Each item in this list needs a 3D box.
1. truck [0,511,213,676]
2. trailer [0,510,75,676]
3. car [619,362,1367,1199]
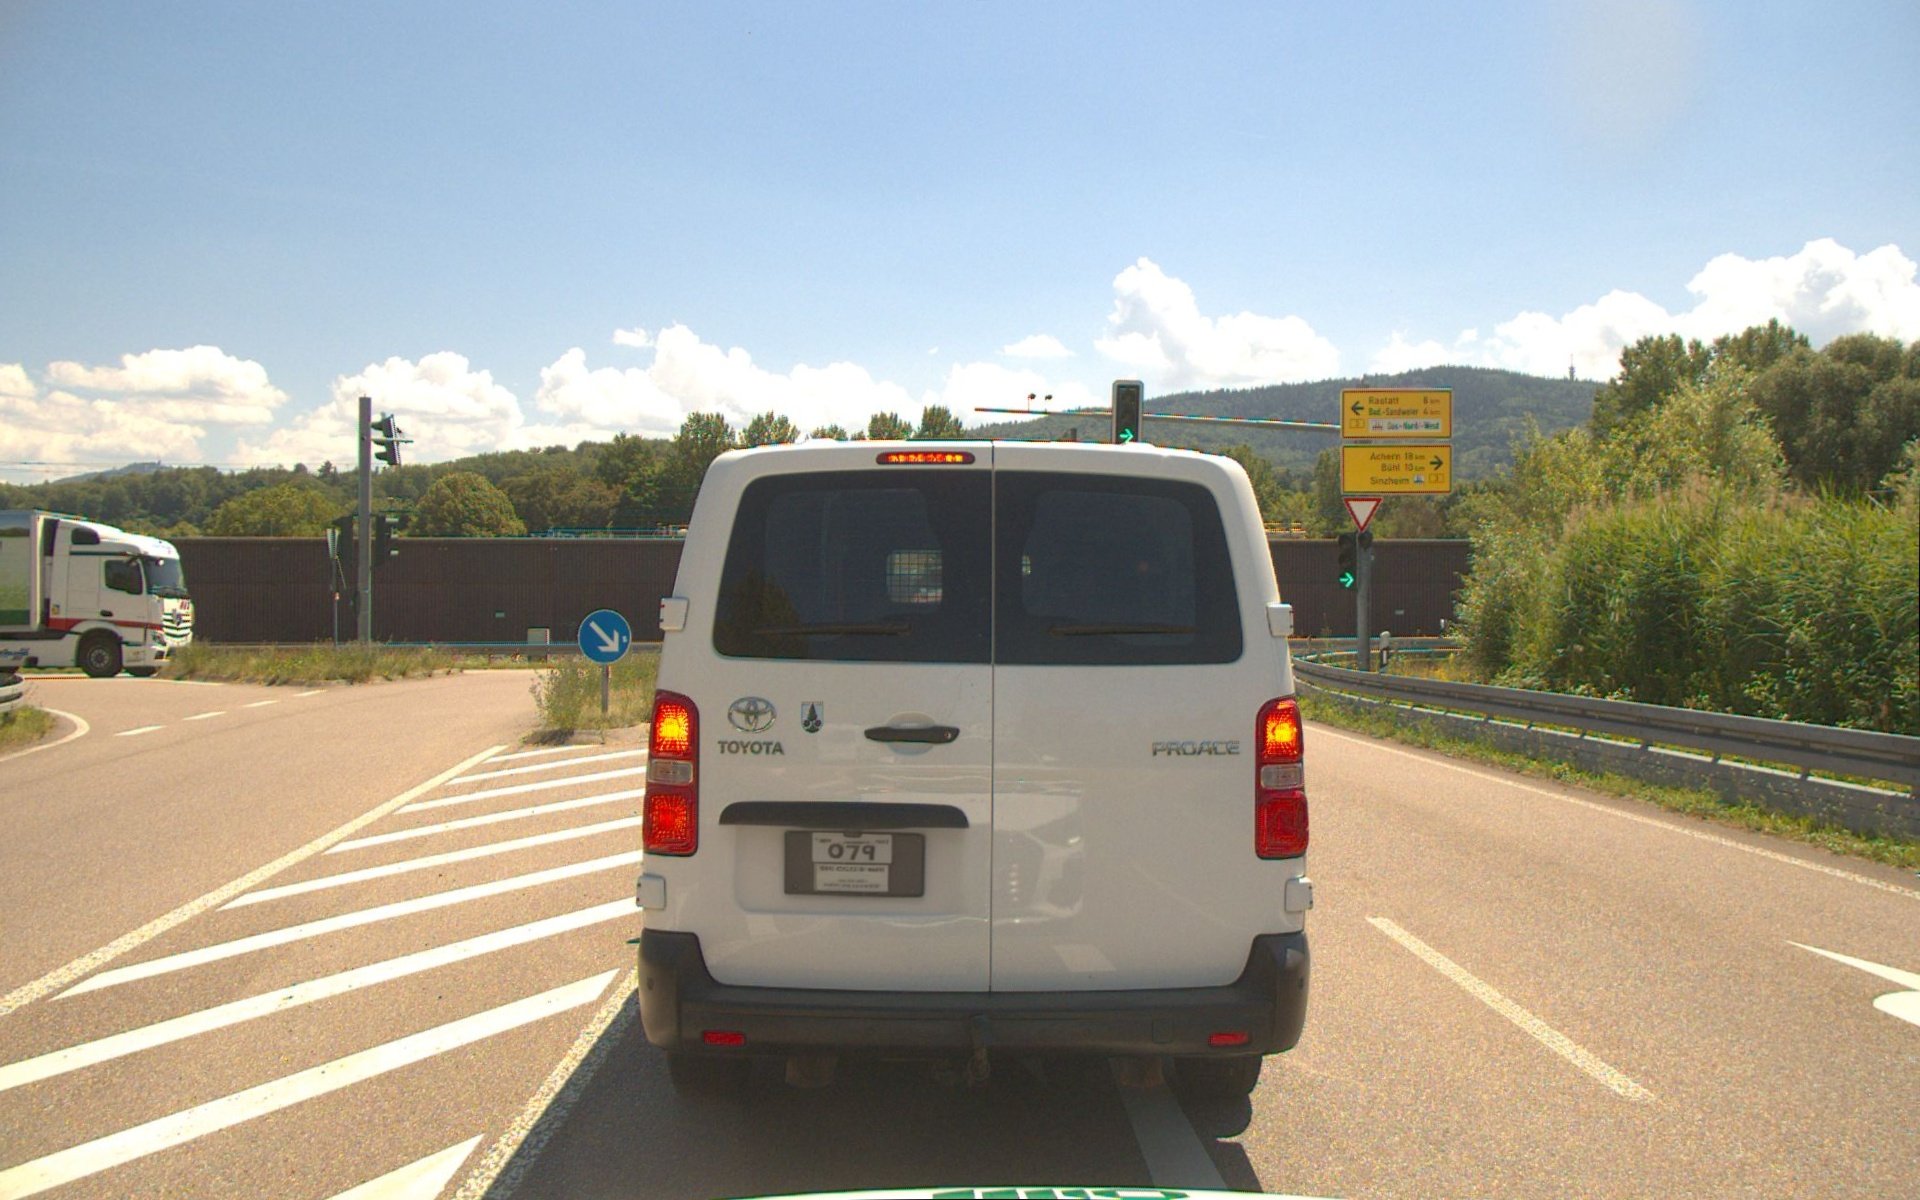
[{"bbox_3d":[-22.420,-0.145,41.798,5.649,4.024,3.061,0,-1,-3],"label":"truck"},{"bbox_3d":[-29.549,-0.181,41.459,12.877,4.024,3.060,0,-1,-3],"label":"trailer"},{"bbox_3d":[0.054,0.473,5.942,1.778,2.053,3.999,0,0,-1],"label":"car"}]
